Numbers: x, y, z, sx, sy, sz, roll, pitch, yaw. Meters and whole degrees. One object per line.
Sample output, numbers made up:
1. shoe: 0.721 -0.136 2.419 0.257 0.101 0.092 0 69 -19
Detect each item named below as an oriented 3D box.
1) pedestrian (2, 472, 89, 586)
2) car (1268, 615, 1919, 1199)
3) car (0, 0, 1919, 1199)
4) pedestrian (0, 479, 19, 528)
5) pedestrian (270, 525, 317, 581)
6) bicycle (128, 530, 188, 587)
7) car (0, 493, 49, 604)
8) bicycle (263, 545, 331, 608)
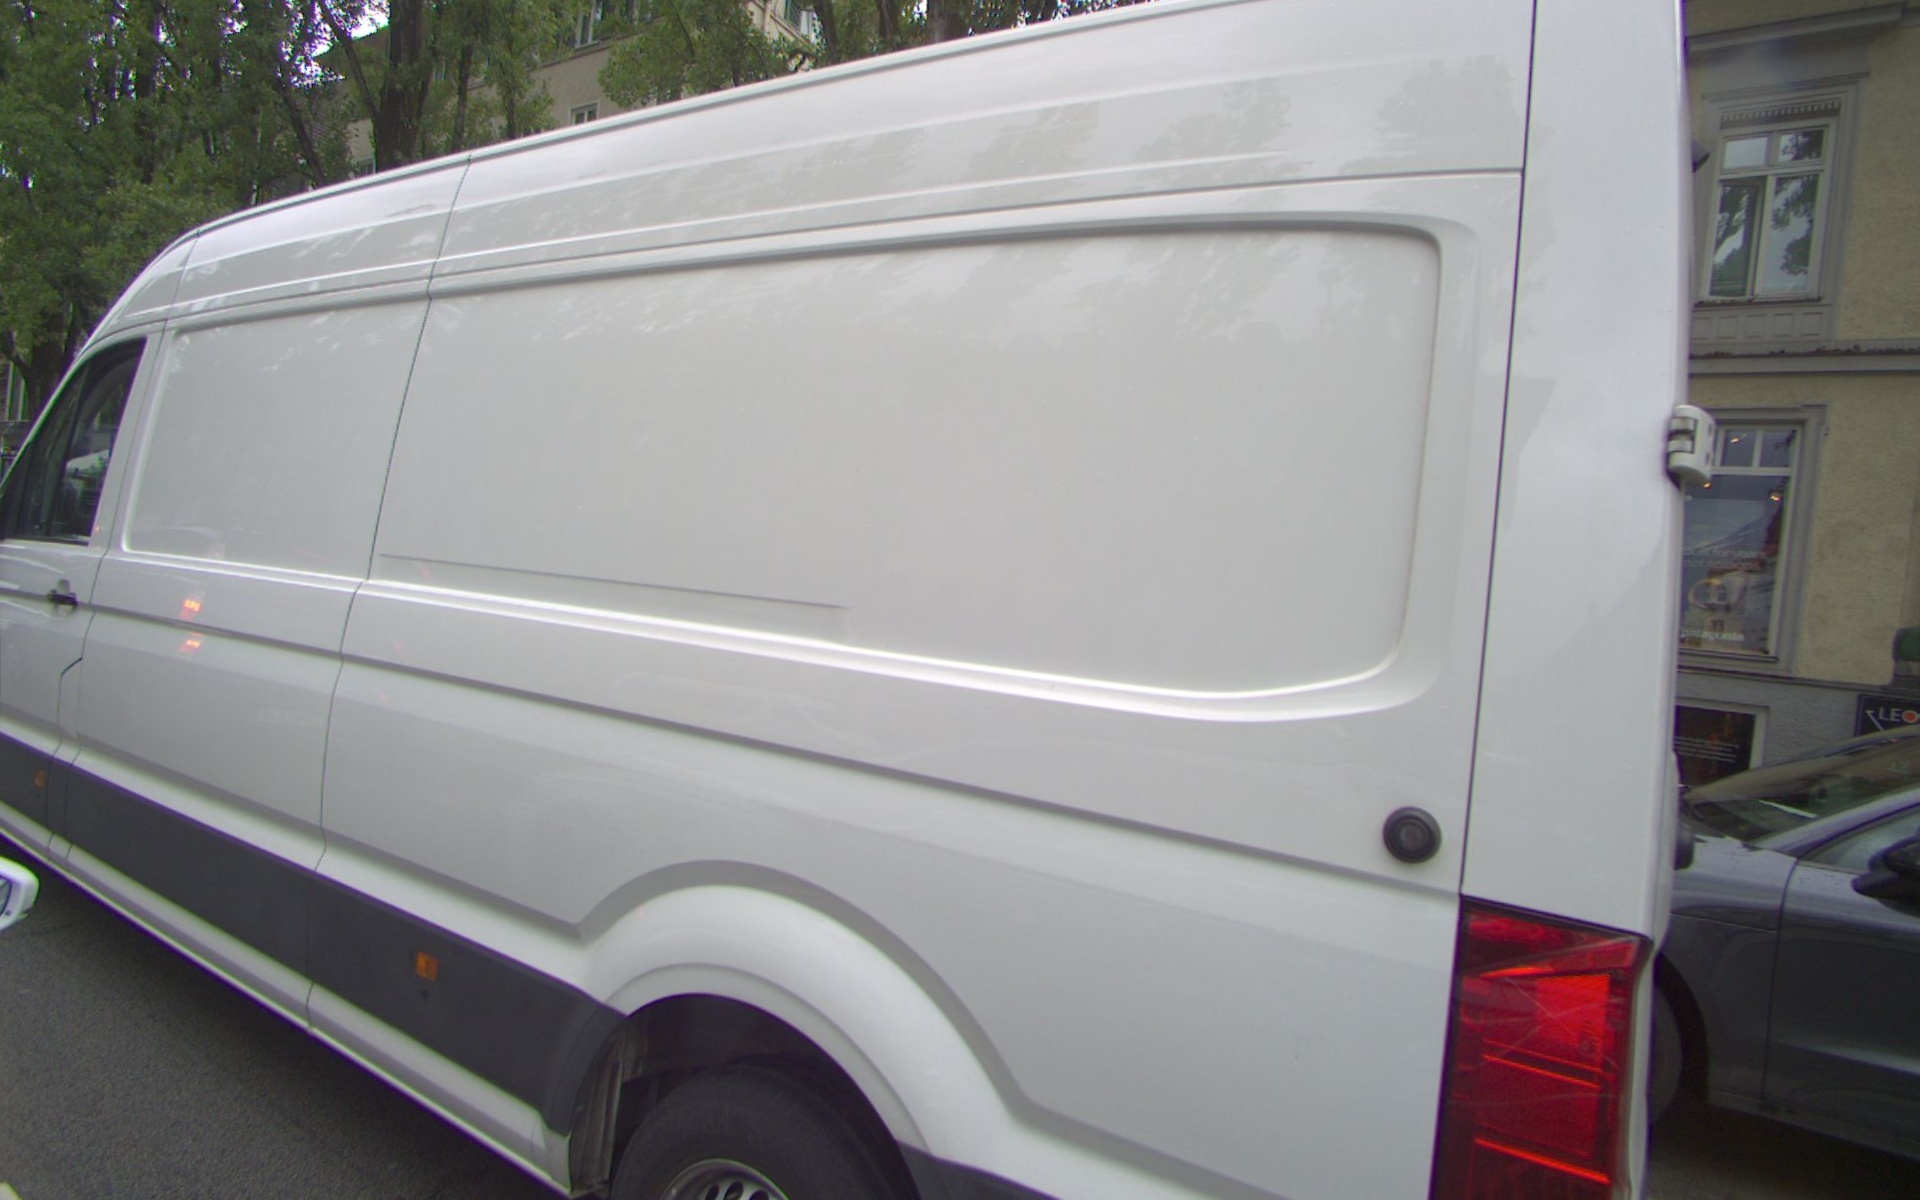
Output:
1. pedestrian: -15.480 -1.194 17.037 0.857 1.795 0.827 7 1 37
2. car: 3.590 1.178 3.518 4.372 1.657 1.807 7 -1 30
3. car: -1.526 0.098 3.385 6.619 2.522 2.066 7 0 32
4. pedestrian: -35.243 -3.566 36.980 0.745 1.707 0.674 6 1 27
5. pedestrian: -17.175 -1.212 25.922 0.787 1.340 0.639 7 1 31
6. bicycle: -15.910 -0.826 19.938 1.429 1.009 0.349 6 2 28
7. car: -14.978 -0.919 14.684 3.465 1.510 1.543 7 -1 32
8. bicycle: -12.085 -0.436 18.317 1.429 1.009 0.349 6 2 28
